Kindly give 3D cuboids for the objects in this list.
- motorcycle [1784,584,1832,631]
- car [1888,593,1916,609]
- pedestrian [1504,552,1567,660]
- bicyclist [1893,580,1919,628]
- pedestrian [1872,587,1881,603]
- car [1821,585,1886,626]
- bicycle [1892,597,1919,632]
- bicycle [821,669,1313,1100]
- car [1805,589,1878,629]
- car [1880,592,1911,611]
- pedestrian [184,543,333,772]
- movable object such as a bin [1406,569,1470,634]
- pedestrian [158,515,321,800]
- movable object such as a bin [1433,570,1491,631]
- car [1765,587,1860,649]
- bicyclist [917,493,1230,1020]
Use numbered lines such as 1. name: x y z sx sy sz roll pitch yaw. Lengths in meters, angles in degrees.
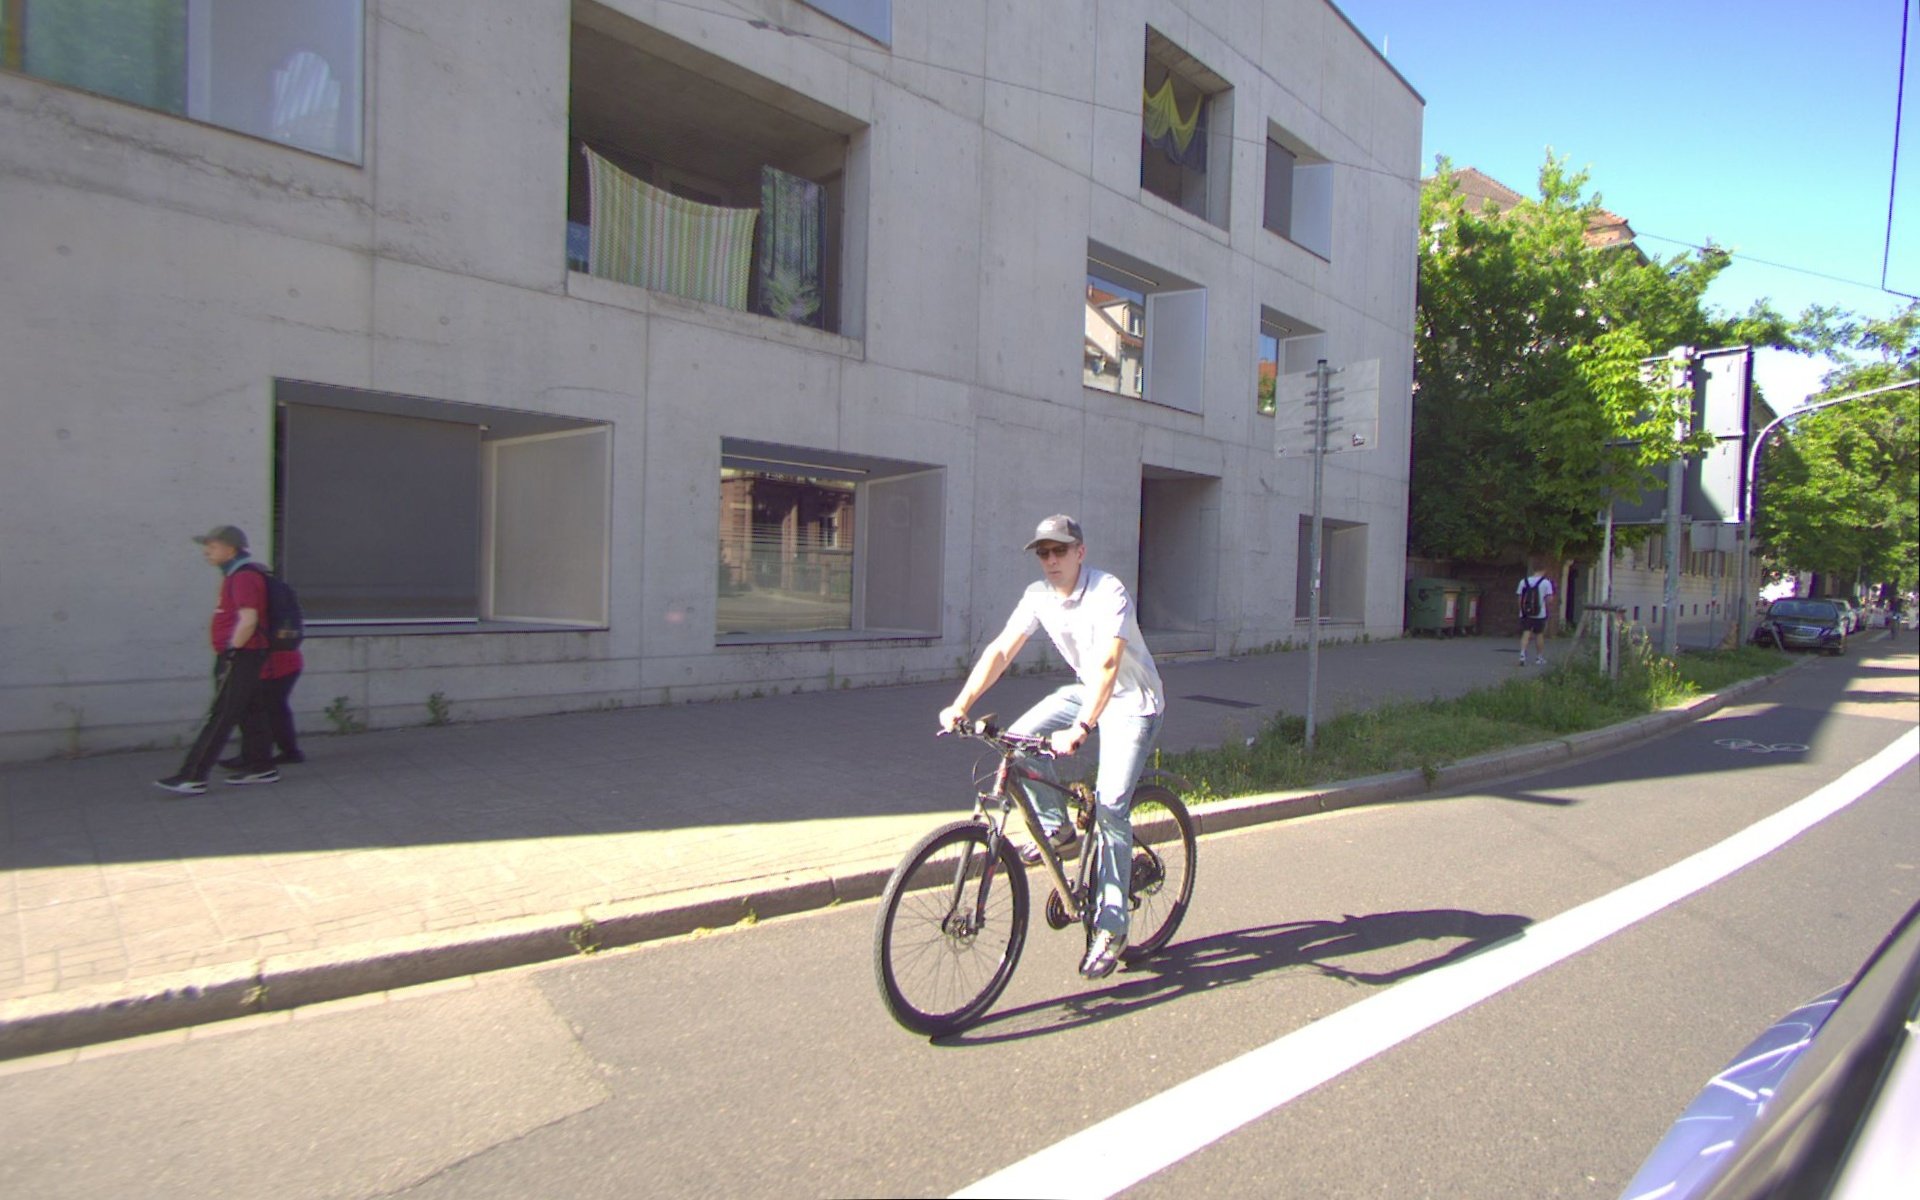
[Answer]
1. motorcycle: 29.280 0.236 34.940 2.635 1.506 0.915 0 4 -44
2. car: 93.686 0.074 100.678 1.819 1.501 4.677 5 3 42
3. pedestrian: 10.332 0.092 18.164 0.684 1.872 0.940 5 3 43
4. bicyclist: 35.113 0.136 37.497 0.762 1.760 1.030 1 1 45
5. pedestrian: 117.019 -0.665 129.252 0.739 2.038 0.679 3 2 37
6. car: 40.592 0.217 45.960 4.509 1.645 1.813 0 5 -45
7. bicycle: 35.123 0.514 37.515 0.761 1.258 2.062 1 1 44
8. bicycle: 0.525 0.904 3.957 2.076 1.108 0.739 0 1 -44
9. car: 35.239 0.347 40.418 4.283 1.398 1.726 0 4 -44
10. car: 81.069 0.114 87.683 1.703 1.490 4.145 5 4 45
11. pedestrian: -4.675 0.350 6.746 0.751 1.421 0.518 0 2 -42
12. movable object such as a bin: 11.486 0.018 24.315 1.332 1.481 0.934 0 2 -43
13. pedestrian: -4.406 0.314 6.190 0.751 1.620 0.518 0 2 -42
14. movable object such as a bin: 12.743 -0.002 25.705 0.933 1.481 1.310 3 2 44
15. car: 23.968 0.439 28.447 1.821 1.476 4.747 5 4 41
16. bicyclist: 0.442 0.498 3.875 0.955 1.707 0.739 0 1 -43
